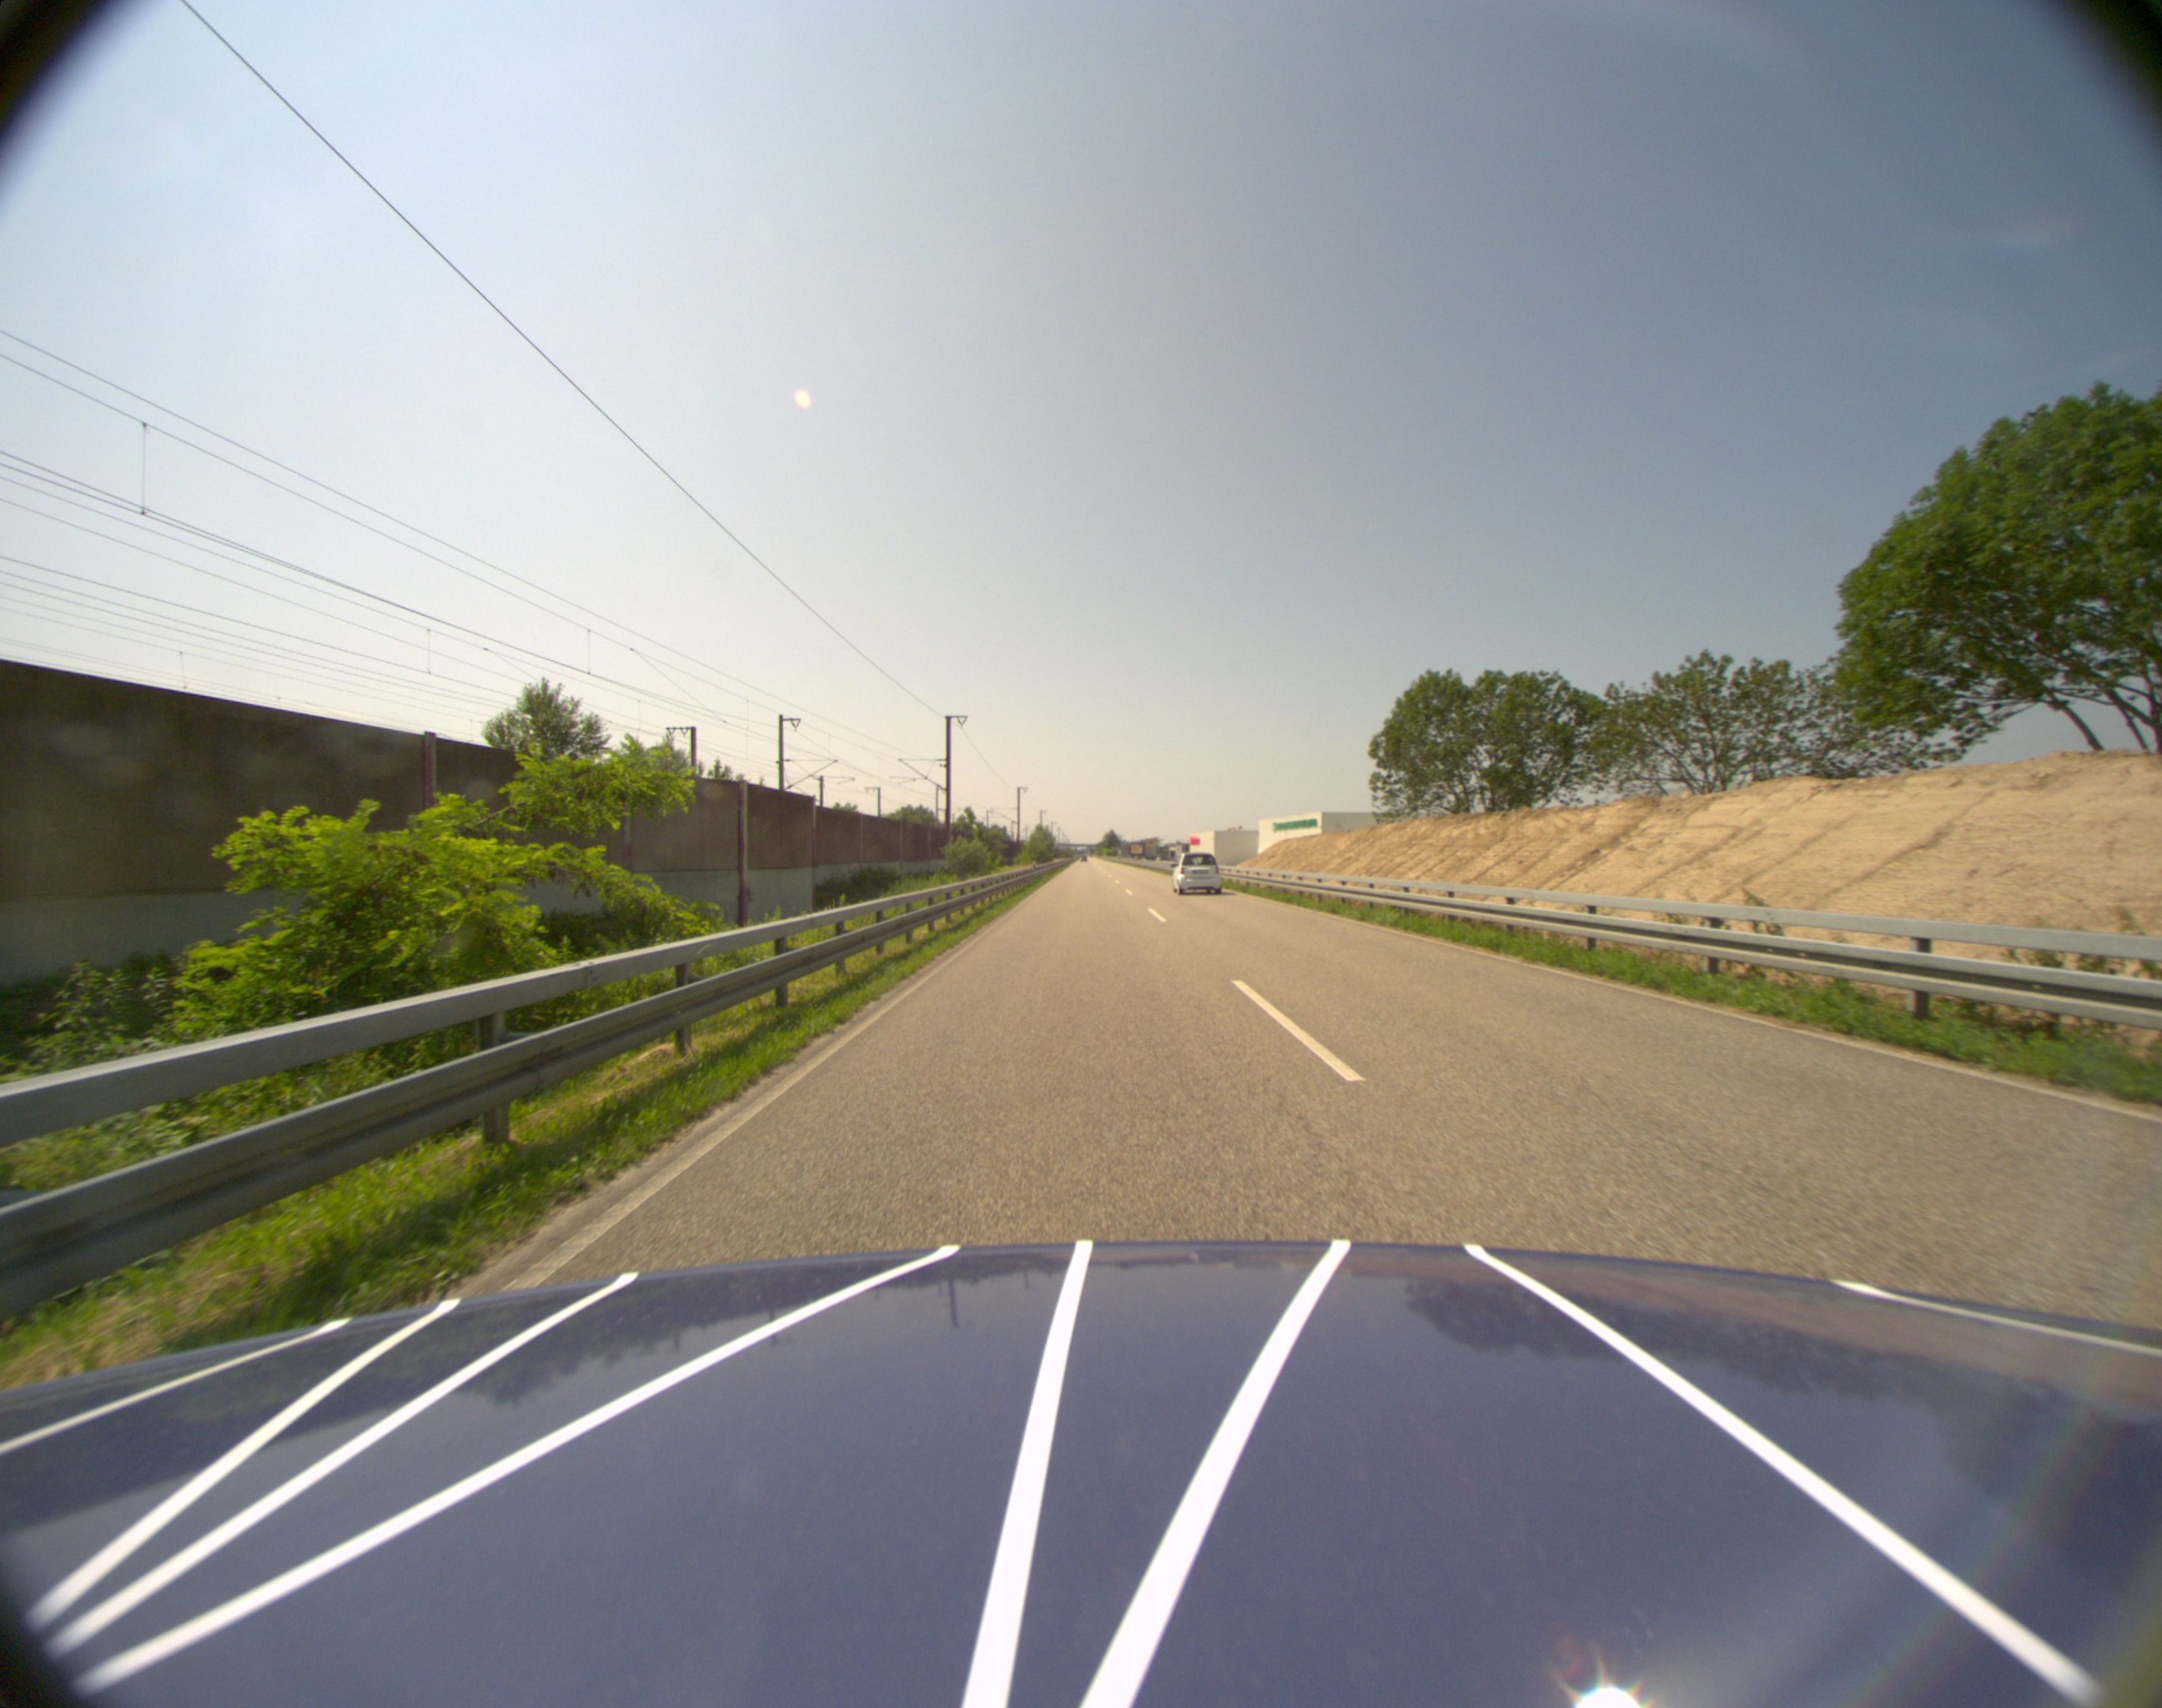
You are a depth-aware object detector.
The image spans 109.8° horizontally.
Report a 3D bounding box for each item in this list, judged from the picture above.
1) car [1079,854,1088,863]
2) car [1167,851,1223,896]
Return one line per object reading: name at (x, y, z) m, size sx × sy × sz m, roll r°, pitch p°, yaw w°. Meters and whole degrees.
car at (0.608, 1.036, 185.473) m, size 1.999 × 2.002 × 3.999 m, roll -1°, pitch 0°, yaw -2°
car at (4.336, 0.710, 29.373) m, size 1.599 × 1.567 × 3.828 m, roll -1°, pitch 0°, yaw 0°
